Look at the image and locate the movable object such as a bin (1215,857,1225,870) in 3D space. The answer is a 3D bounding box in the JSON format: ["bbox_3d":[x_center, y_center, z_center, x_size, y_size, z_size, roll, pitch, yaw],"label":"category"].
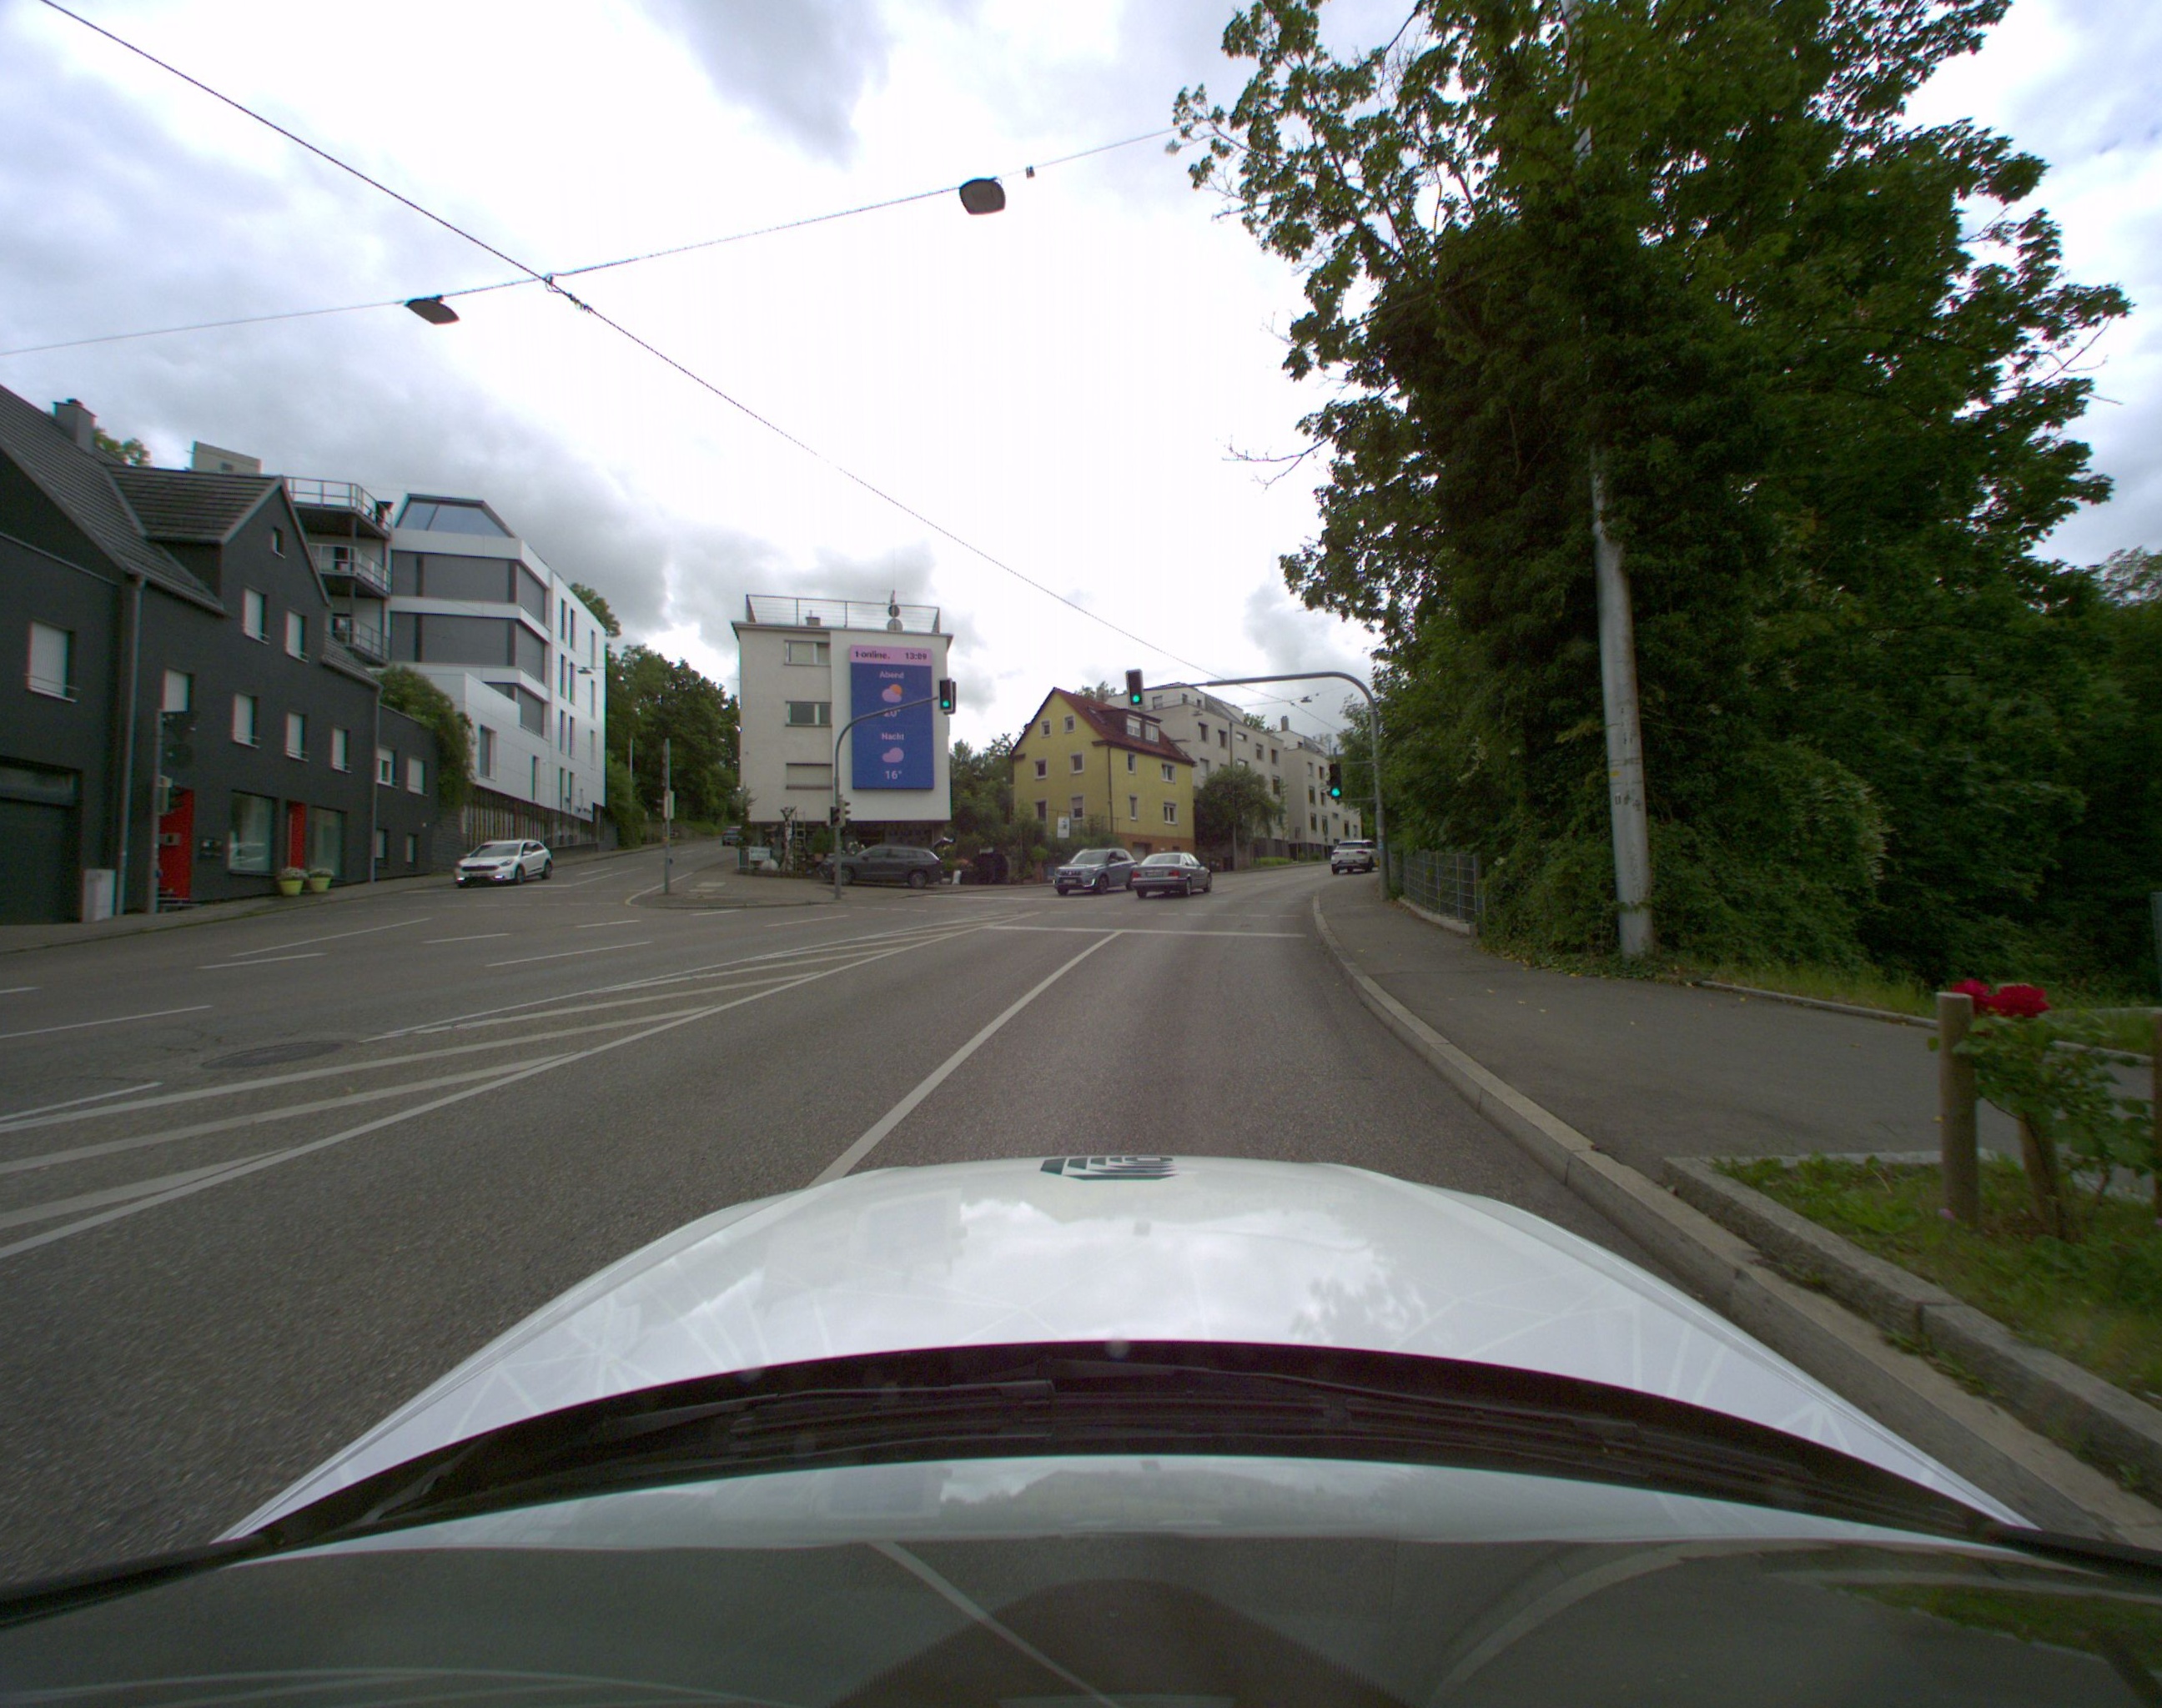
[{"bbox_3d":[9.560,0.639,55.937,0.563,0.885,0.613,-1,0,18],"label":"movable object such as a bin"}]

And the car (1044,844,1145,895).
[{"bbox_3d":[0.579,0.525,29.563,1.878,1.695,4.373,-2,0,28],"label":"car"}]

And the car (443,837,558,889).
[{"bbox_3d":[-20.447,0.229,28.925,1.887,1.567,4.366,-1,3,-16],"label":"car"}]

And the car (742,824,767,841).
[{"bbox_3d":[-31.456,-2.088,78.553,1.783,1.578,3.980,0,2,-16],"label":"car"}]

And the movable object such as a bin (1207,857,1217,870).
[{"bbox_3d":[9.126,0.645,56.726,0.563,0.885,0.613,-1,0,18],"label":"movable object such as a bin"}]

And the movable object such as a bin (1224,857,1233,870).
[{"bbox_3d":[10.160,0.632,56.074,0.563,0.885,0.613,-1,0,18],"label":"movable object such as a bin"}]

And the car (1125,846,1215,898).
[{"bbox_3d":[2.931,0.533,26.055,1.691,1.464,4.023,-3,0,23],"label":"car"}]

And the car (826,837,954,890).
[{"bbox_3d":[-7.585,0.356,32.404,4.697,1.712,2.307,3,2,-16],"label":"car"}]

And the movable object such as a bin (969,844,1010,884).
[{"bbox_3d":[-4.330,0.461,38.681,1.758,1.779,1.853,-1,0,-3],"label":"movable object such as a bin"}]

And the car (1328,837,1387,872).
[{"bbox_3d":[13.197,0.021,38.732,1.762,1.579,4.025,-1,0,32],"label":"car"}]

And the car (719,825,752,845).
[{"bbox_3d":[-28.020,-1.562,66.086,1.782,1.578,3.983,0,2,-13],"label":"car"}]
